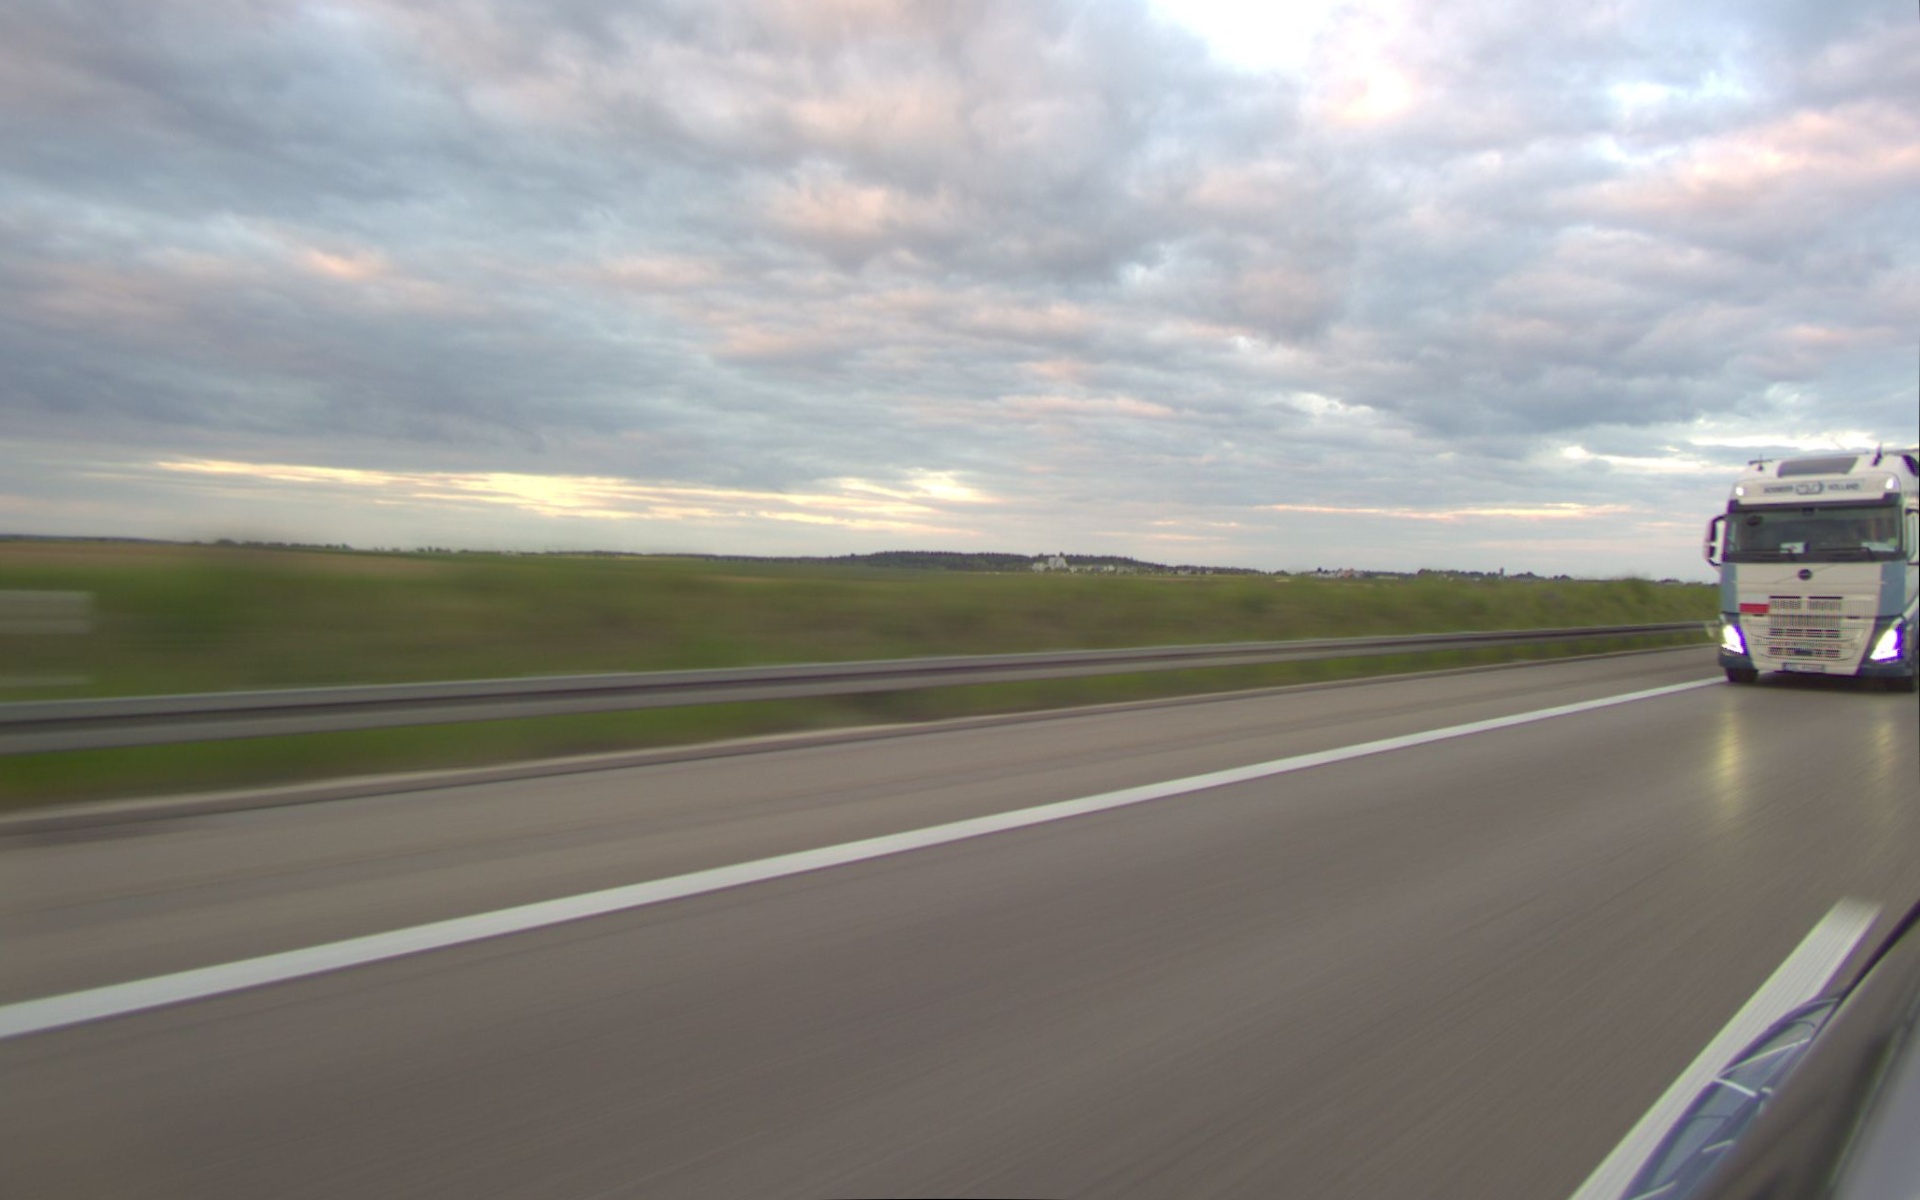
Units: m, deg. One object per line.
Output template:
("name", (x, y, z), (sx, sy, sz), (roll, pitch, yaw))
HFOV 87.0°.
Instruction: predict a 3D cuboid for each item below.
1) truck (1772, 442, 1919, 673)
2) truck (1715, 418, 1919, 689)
("truck", (21.250, -0.789, 22.560), (12.757, 4.073, 2.595), (0, 1, -41))
("truck", (15.863, -0.727, 18.005), (5.755, 4.073, 2.596), (0, 1, -40))
